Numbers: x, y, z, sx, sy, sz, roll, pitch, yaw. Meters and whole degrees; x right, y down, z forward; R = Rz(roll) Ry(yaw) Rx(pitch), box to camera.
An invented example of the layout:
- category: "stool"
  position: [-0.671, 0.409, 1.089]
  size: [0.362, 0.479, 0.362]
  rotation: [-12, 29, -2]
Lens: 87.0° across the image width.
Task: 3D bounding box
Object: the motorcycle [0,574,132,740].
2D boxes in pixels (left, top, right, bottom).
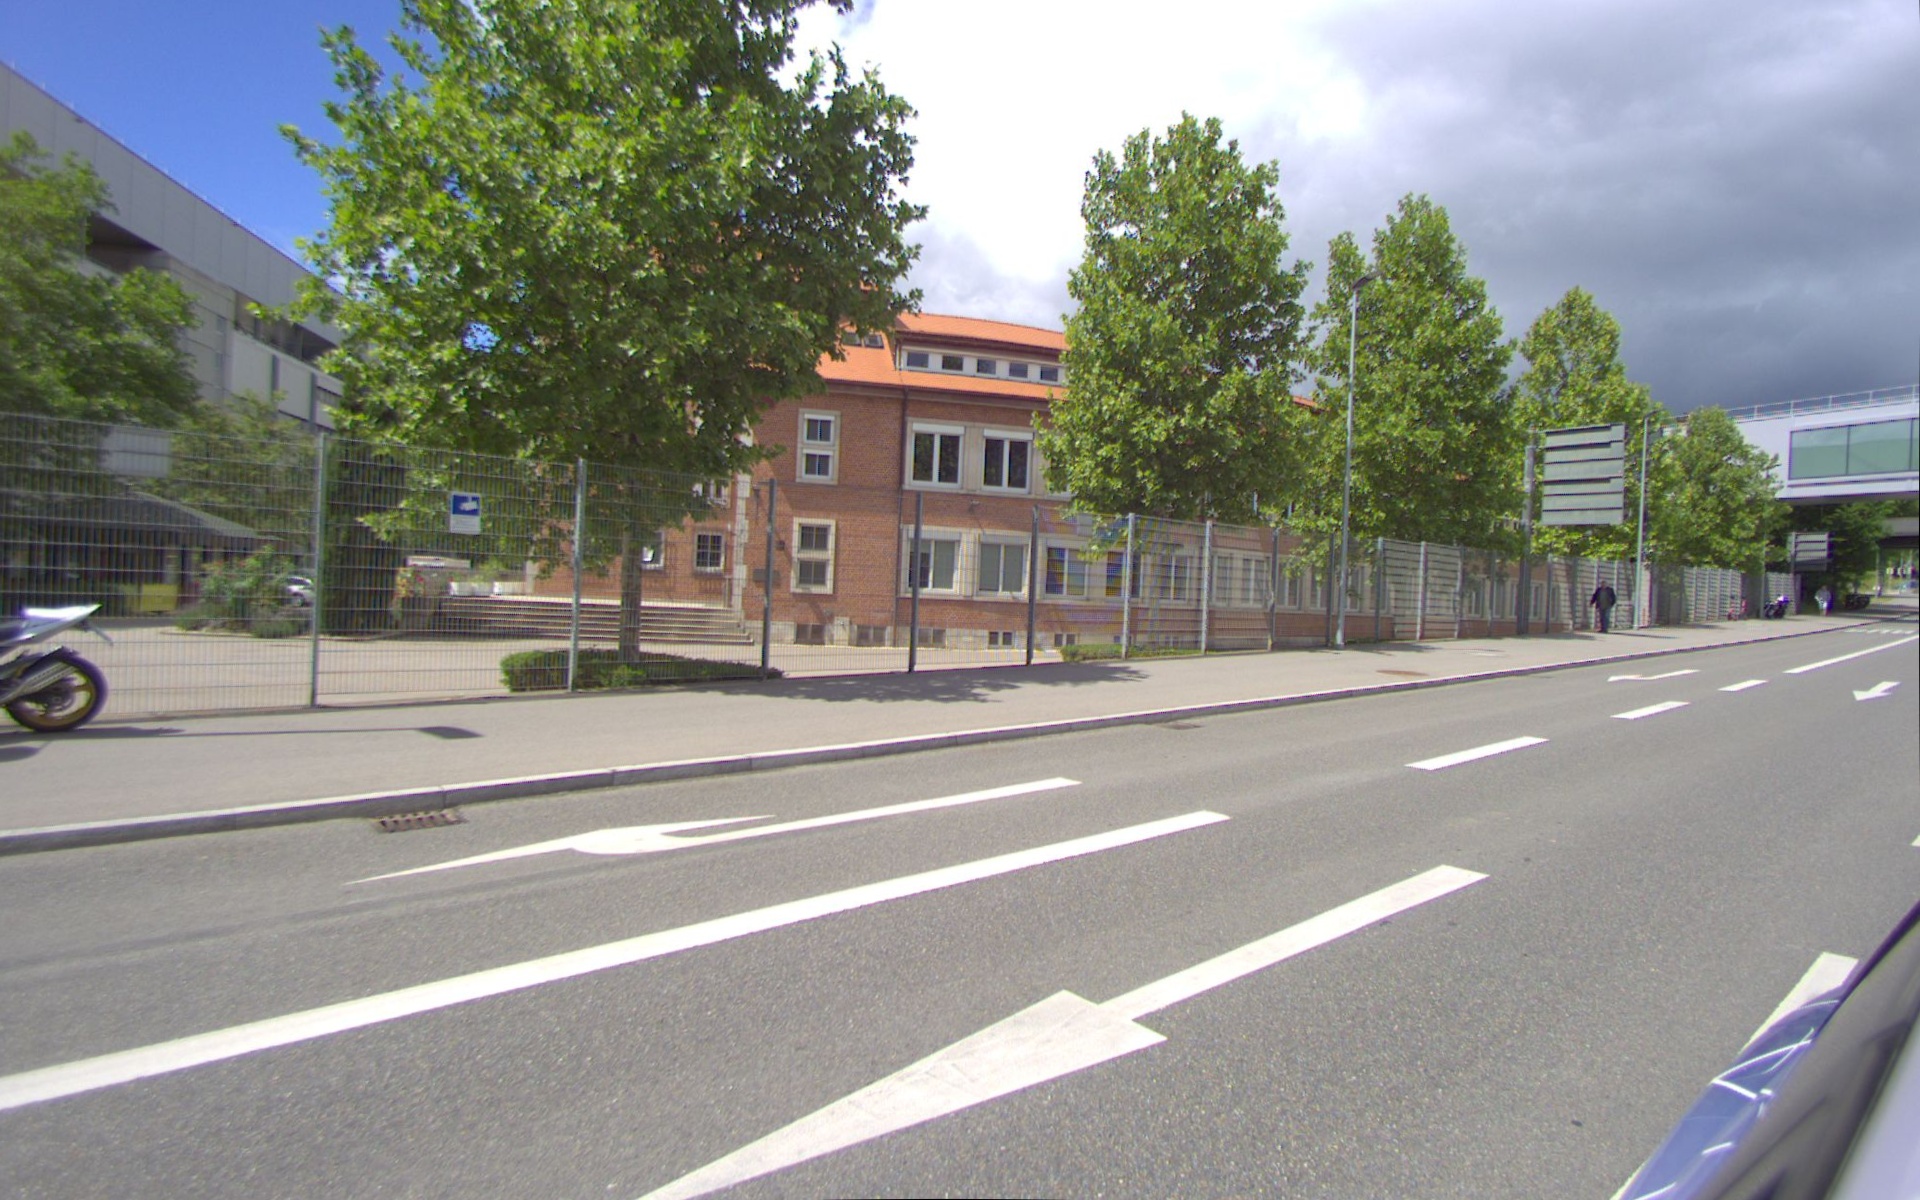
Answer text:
- category: "motorcycle"
  position: [-7.393, 0.407, 7.317]
  size: [0.693, 1.172, 2.113]
  rotation: [4, 3, 44]

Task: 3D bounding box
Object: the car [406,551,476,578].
- category: "car"
  position: [-35.908, -2.472, 70.155]
  size: [3.916, 1.805, 2.004]
  rotation: [-1, 1, -13]

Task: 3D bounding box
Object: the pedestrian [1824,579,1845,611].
- category: "pedestrian"
  position: [54.182, -0.326, 62.693]
  size: [1.078, 1.911, 0.790]
  rotation: [0, 2, -43]

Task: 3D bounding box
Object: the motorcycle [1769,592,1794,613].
- category: "motorcycle"
  position: [44.517, 0.107, 54.810]
  size: [2.209, 1.077, 0.669]
  rotation: [-1, 4, -43]

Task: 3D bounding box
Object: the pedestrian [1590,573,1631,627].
- category: "pedestrian"
  position: [22.154, 0.001, 34.484]
  size: [0.924, 1.764, 0.879]
  rotation: [0, 3, -42]

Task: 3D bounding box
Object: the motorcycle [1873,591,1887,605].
- category: "motorcycle"
  position: [72.947, -0.182, 80.240]
  size: [2.144, 1.096, 0.679]
  rotation: [-1, 2, -43]

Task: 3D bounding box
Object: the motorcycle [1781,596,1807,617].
- category: "motorcycle"
  position: [46.836, 0.349, 56.830]
  size: [2.467, 1.077, 0.709]
  rotation: [-1, 4, -43]

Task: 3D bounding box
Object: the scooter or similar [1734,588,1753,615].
- category: "scooter or similar"
  position: [39.004, 0.048, 50.375]
  size: [1.314, 1.310, 0.492]
  rotation: [0, 3, -42]

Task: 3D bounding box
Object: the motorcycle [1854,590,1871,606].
- category: "motorcycle"
  position: [68.325, -0.157, 76.604]
  size: [2.076, 1.168, 0.679]
  rotation: [0, 2, -41]
